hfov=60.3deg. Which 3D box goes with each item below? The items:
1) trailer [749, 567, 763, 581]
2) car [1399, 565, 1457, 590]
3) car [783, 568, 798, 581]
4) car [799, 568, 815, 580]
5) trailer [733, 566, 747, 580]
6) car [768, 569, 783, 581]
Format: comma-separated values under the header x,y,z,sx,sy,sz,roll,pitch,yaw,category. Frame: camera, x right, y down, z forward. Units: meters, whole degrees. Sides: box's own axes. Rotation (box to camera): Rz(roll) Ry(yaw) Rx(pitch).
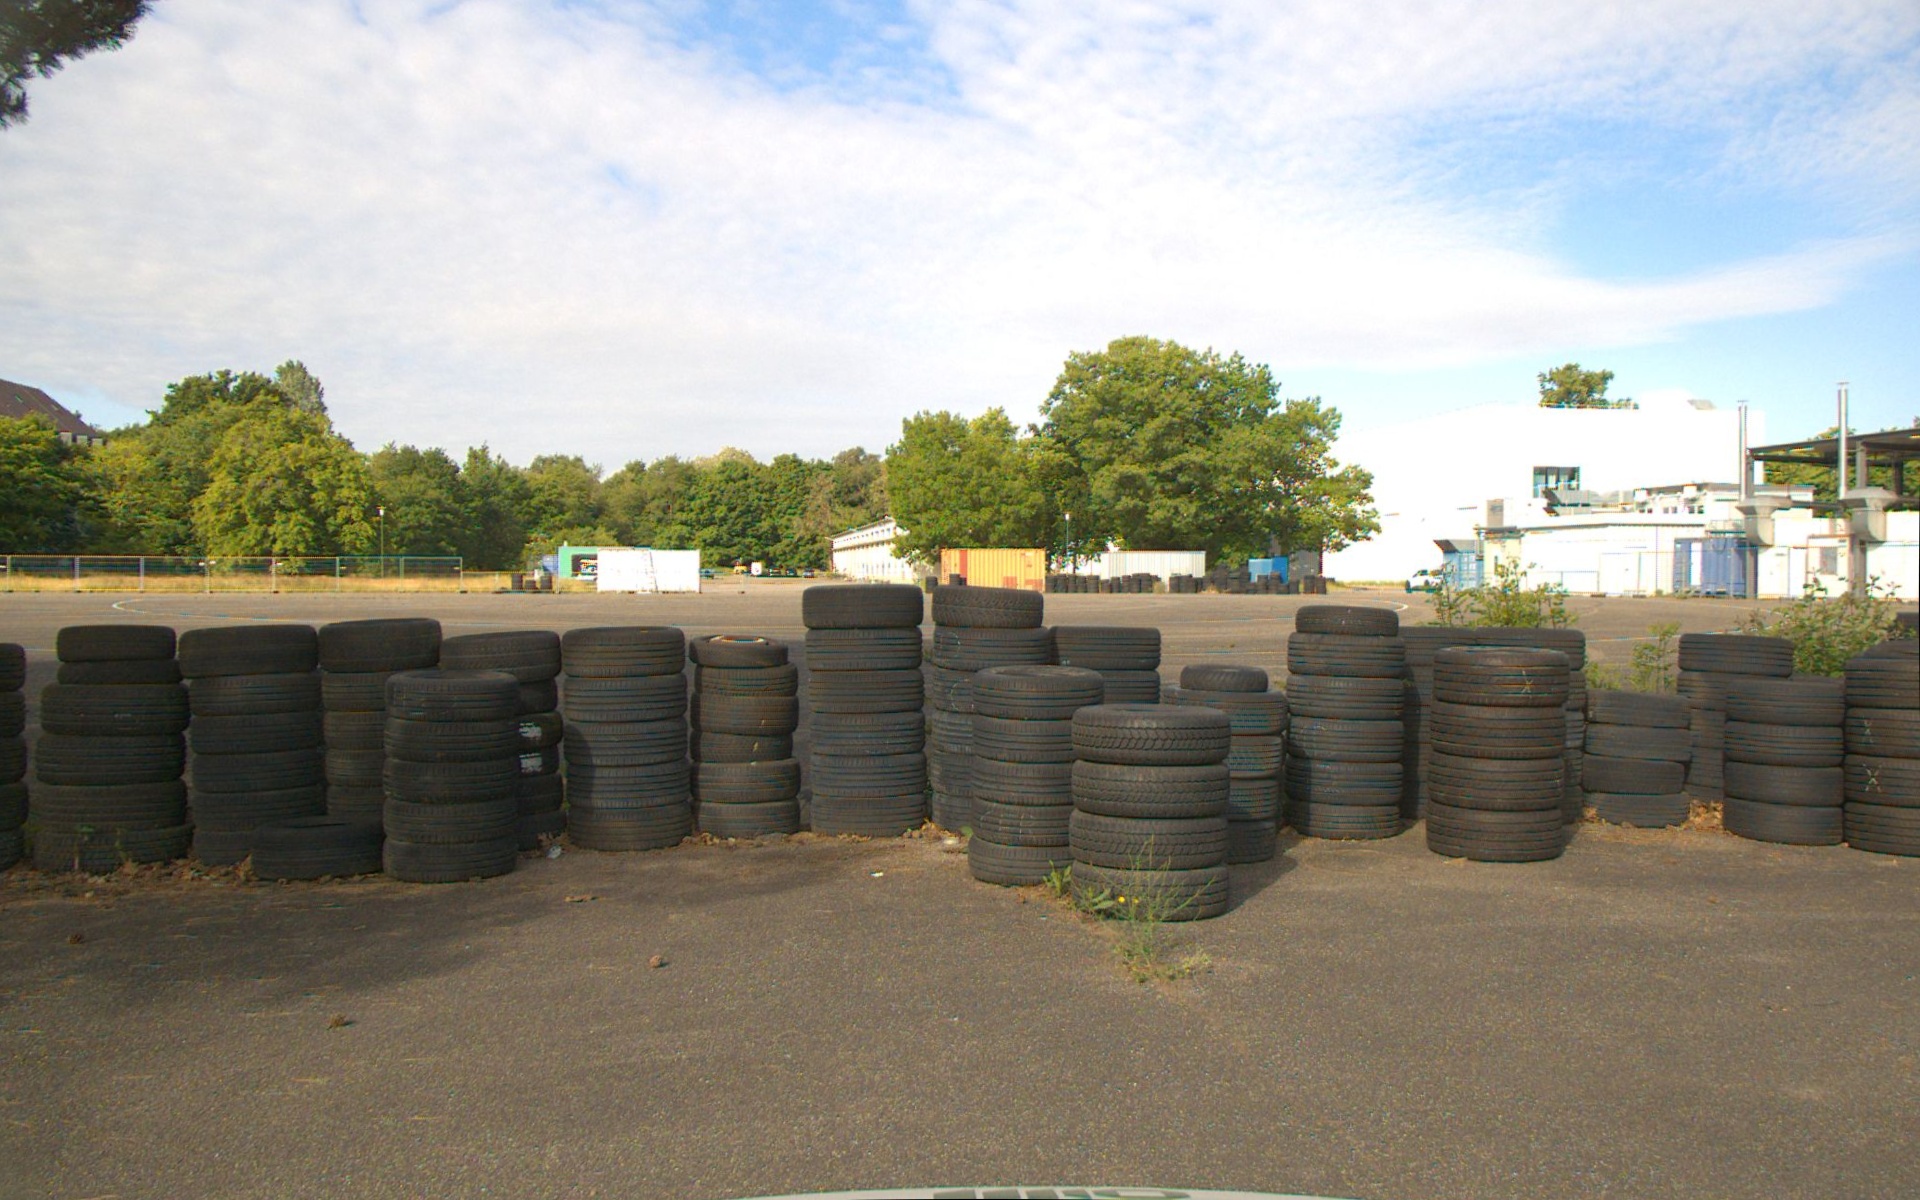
x,y,z,sx,sy,sz,roll,pitch,yaw,category
-30.456,-3.943,247.008,2.020,2.049,3.992,0,1,-9,trailer
30.518,-1.459,107.946,1.835,1.592,4.537,0,1,-10,car
-25.267,-3.828,246.376,1.995,1.840,3.990,0,1,-11,car
-22.806,-3.935,246.773,1.958,1.780,3.990,0,1,-11,car
-33.039,-4.007,247.944,1.957,2.049,3.991,0,1,-10,trailer
-27.439,-3.786,245.836,1.958,1.780,3.990,0,1,-11,car
